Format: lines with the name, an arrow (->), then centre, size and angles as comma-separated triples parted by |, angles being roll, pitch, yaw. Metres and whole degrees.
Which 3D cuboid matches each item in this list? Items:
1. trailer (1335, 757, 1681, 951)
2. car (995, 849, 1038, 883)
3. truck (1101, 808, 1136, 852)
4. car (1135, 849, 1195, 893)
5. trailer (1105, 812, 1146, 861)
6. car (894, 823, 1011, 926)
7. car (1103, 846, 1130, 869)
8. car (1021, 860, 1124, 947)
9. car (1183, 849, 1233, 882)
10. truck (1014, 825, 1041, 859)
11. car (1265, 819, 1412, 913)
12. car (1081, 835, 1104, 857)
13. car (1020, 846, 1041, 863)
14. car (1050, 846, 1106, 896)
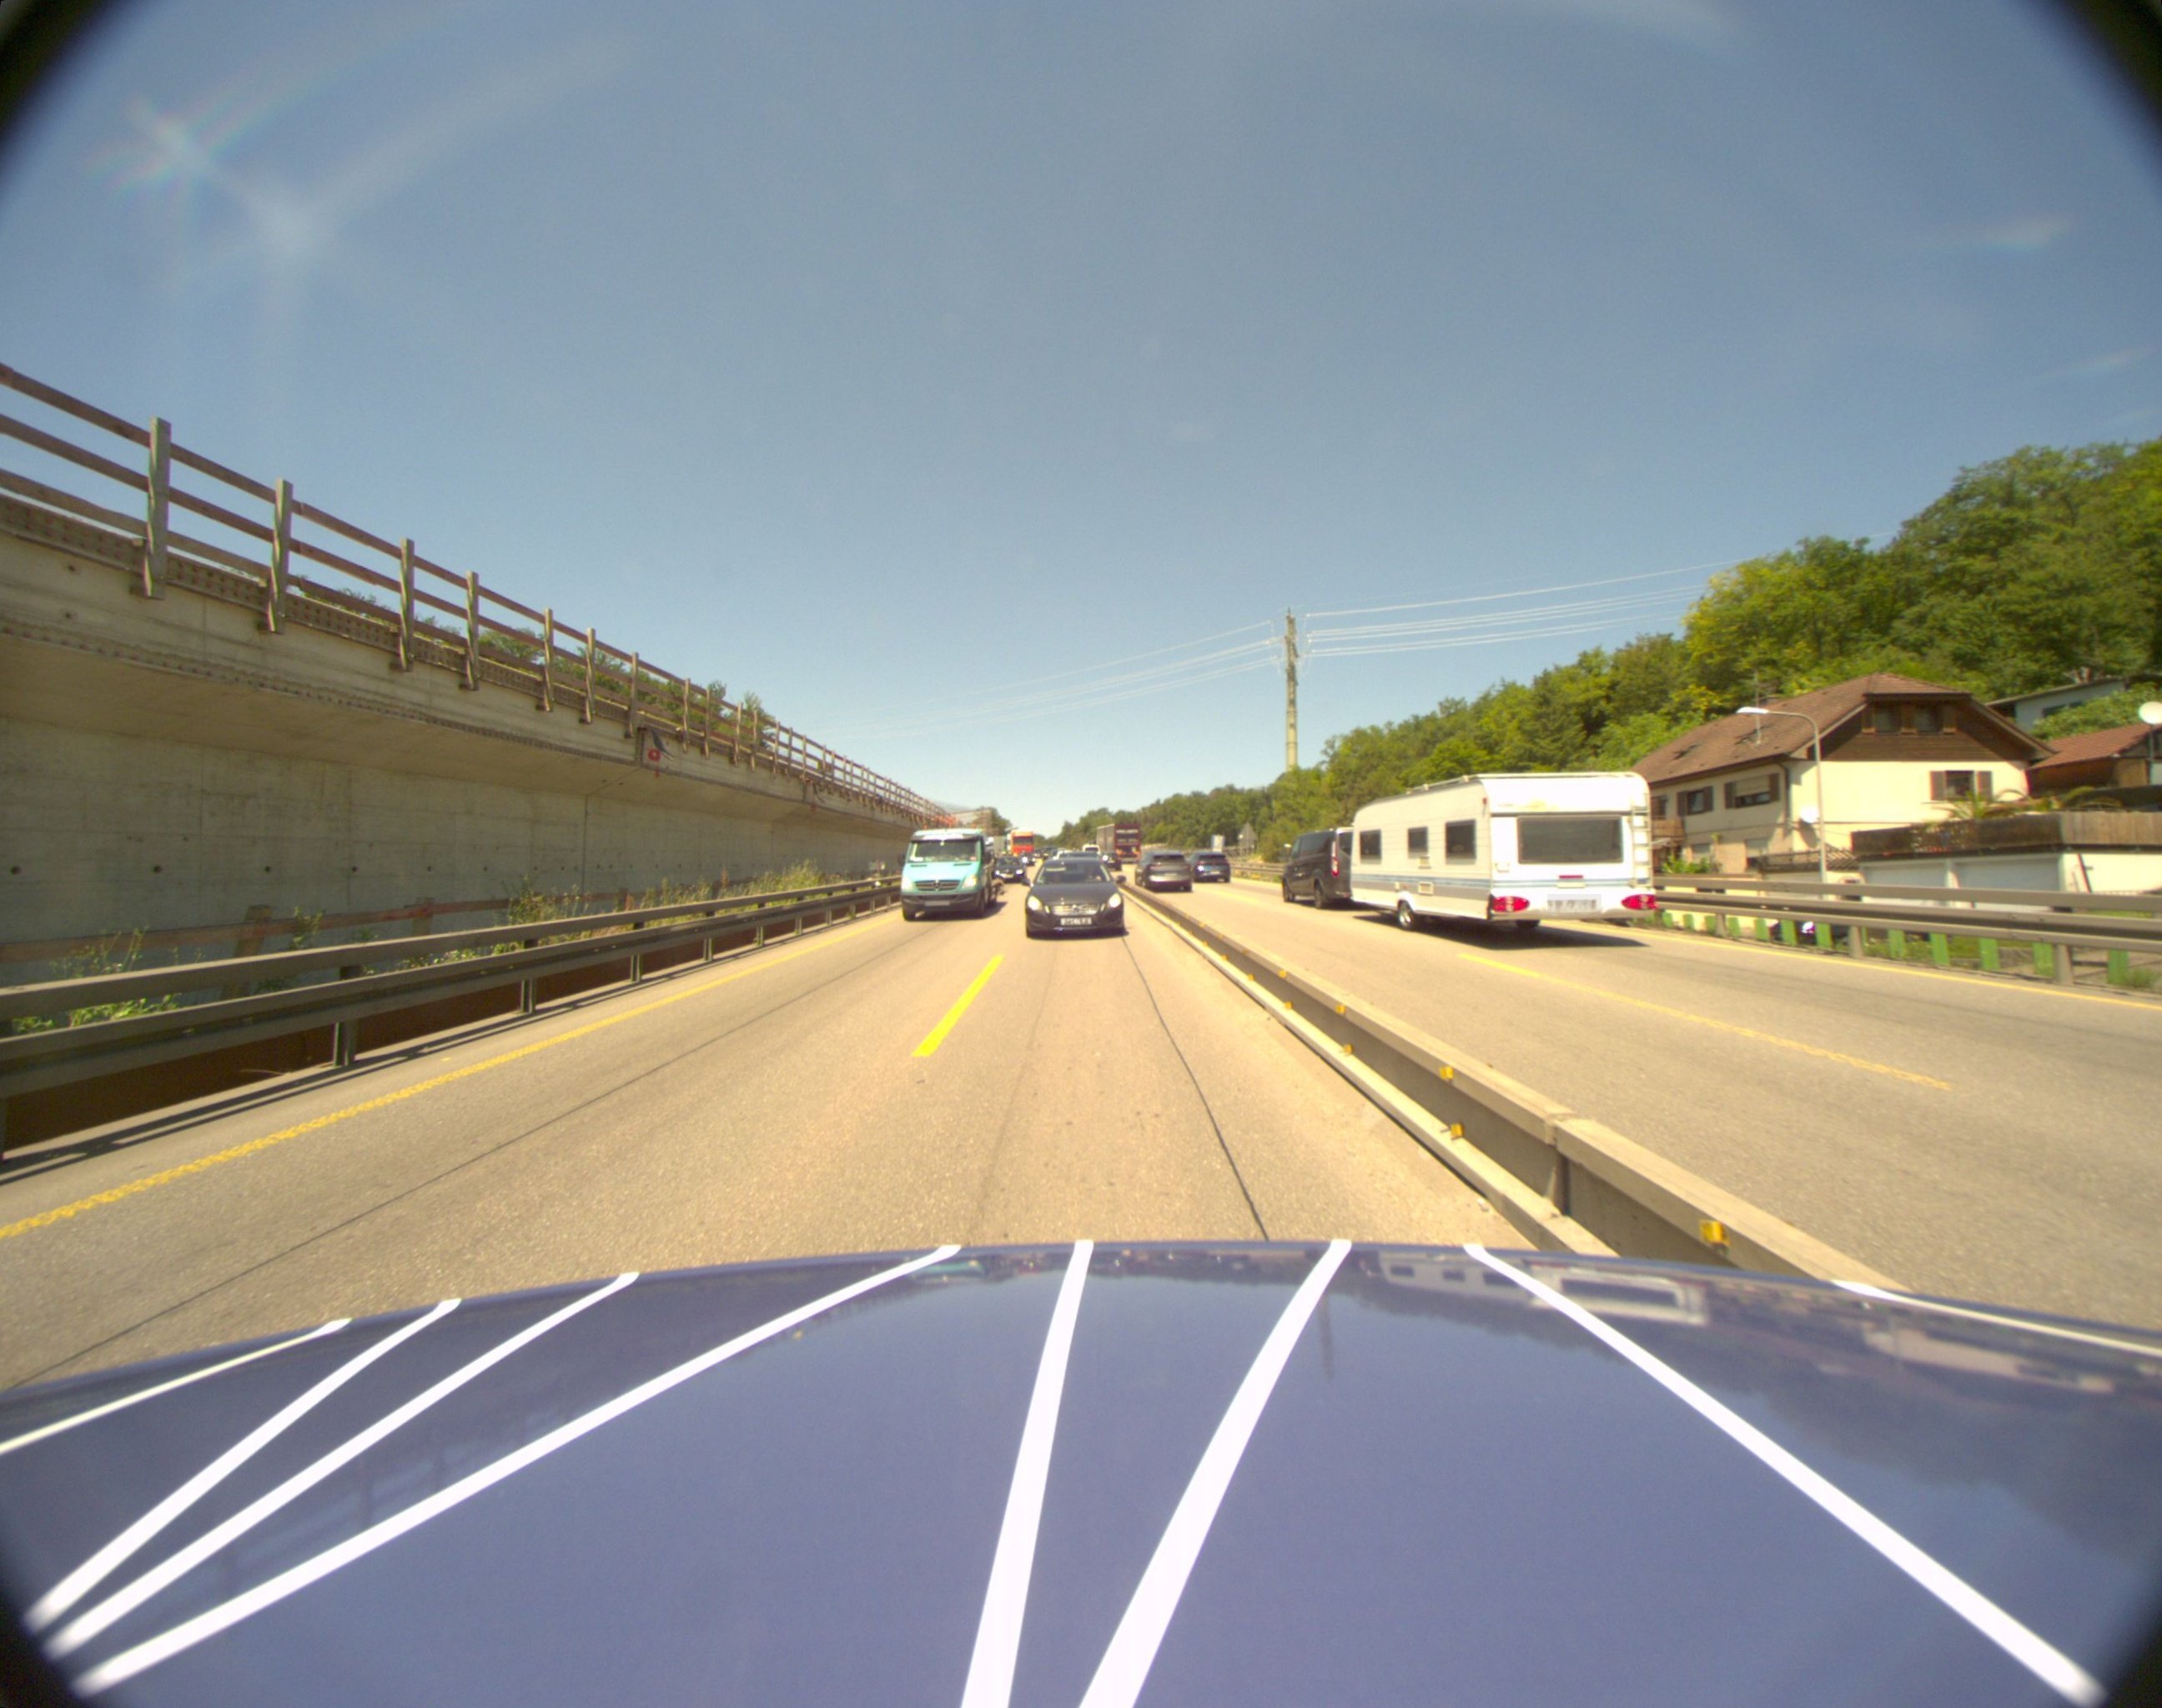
trailer -> 6.829, -0.042, 13.390 | 2.606, 2.574, 6.240 | -1, 1, 0
car -> -3.392, 0.605, 40.741 | 1.859, 1.650, 3.999 | -2, 1, 1
truck -> 4.276, -2.695, 88.248 | 3.182, 4.734, 9.121 | -2, 1, -2
car -> 3.224, 0.610, 29.932 | 1.802, 1.577, 4.321 | -1, 0, -1
trailer -> 4.572, -1.777, 80.626 | 3.129, 4.687, 12.075 | -2, 1, -1
car -> -3.345, 0.461, 21.413 | 1.968, 2.367, 7.209 | -2, 0, 0
car -> 2.639, 0.265, 57.668 | 1.859, 1.609, 3.999 | -2, 1, 0
car -> -0.175, 0.883, 15.414 | 1.793, 1.440, 4.297 | 0, 0, -1
car -> 6.212, 0.535, 37.491 | 1.630, 1.506, 3.855 | -1, 0, -2
truck -> -6.775, -1.497, 97.313 | 2.650, 3.978, 11.194 | -2, 1, 0
car -> 6.248, 0.236, 19.144 | 1.998, 2.002, 4.979 | -2, 1, 0
car -> 1.158, -0.864, 79.631 | 1.860, 2.138, 5.564 | -2, 1, -3
car -> -4.965, 0.047, 75.368 | 1.674, 1.499, 3.648 | -2, 1, 2
car -> -0.085, 0.570, 28.142 | 1.859, 1.650, 3.999 | -2, 1, 0
